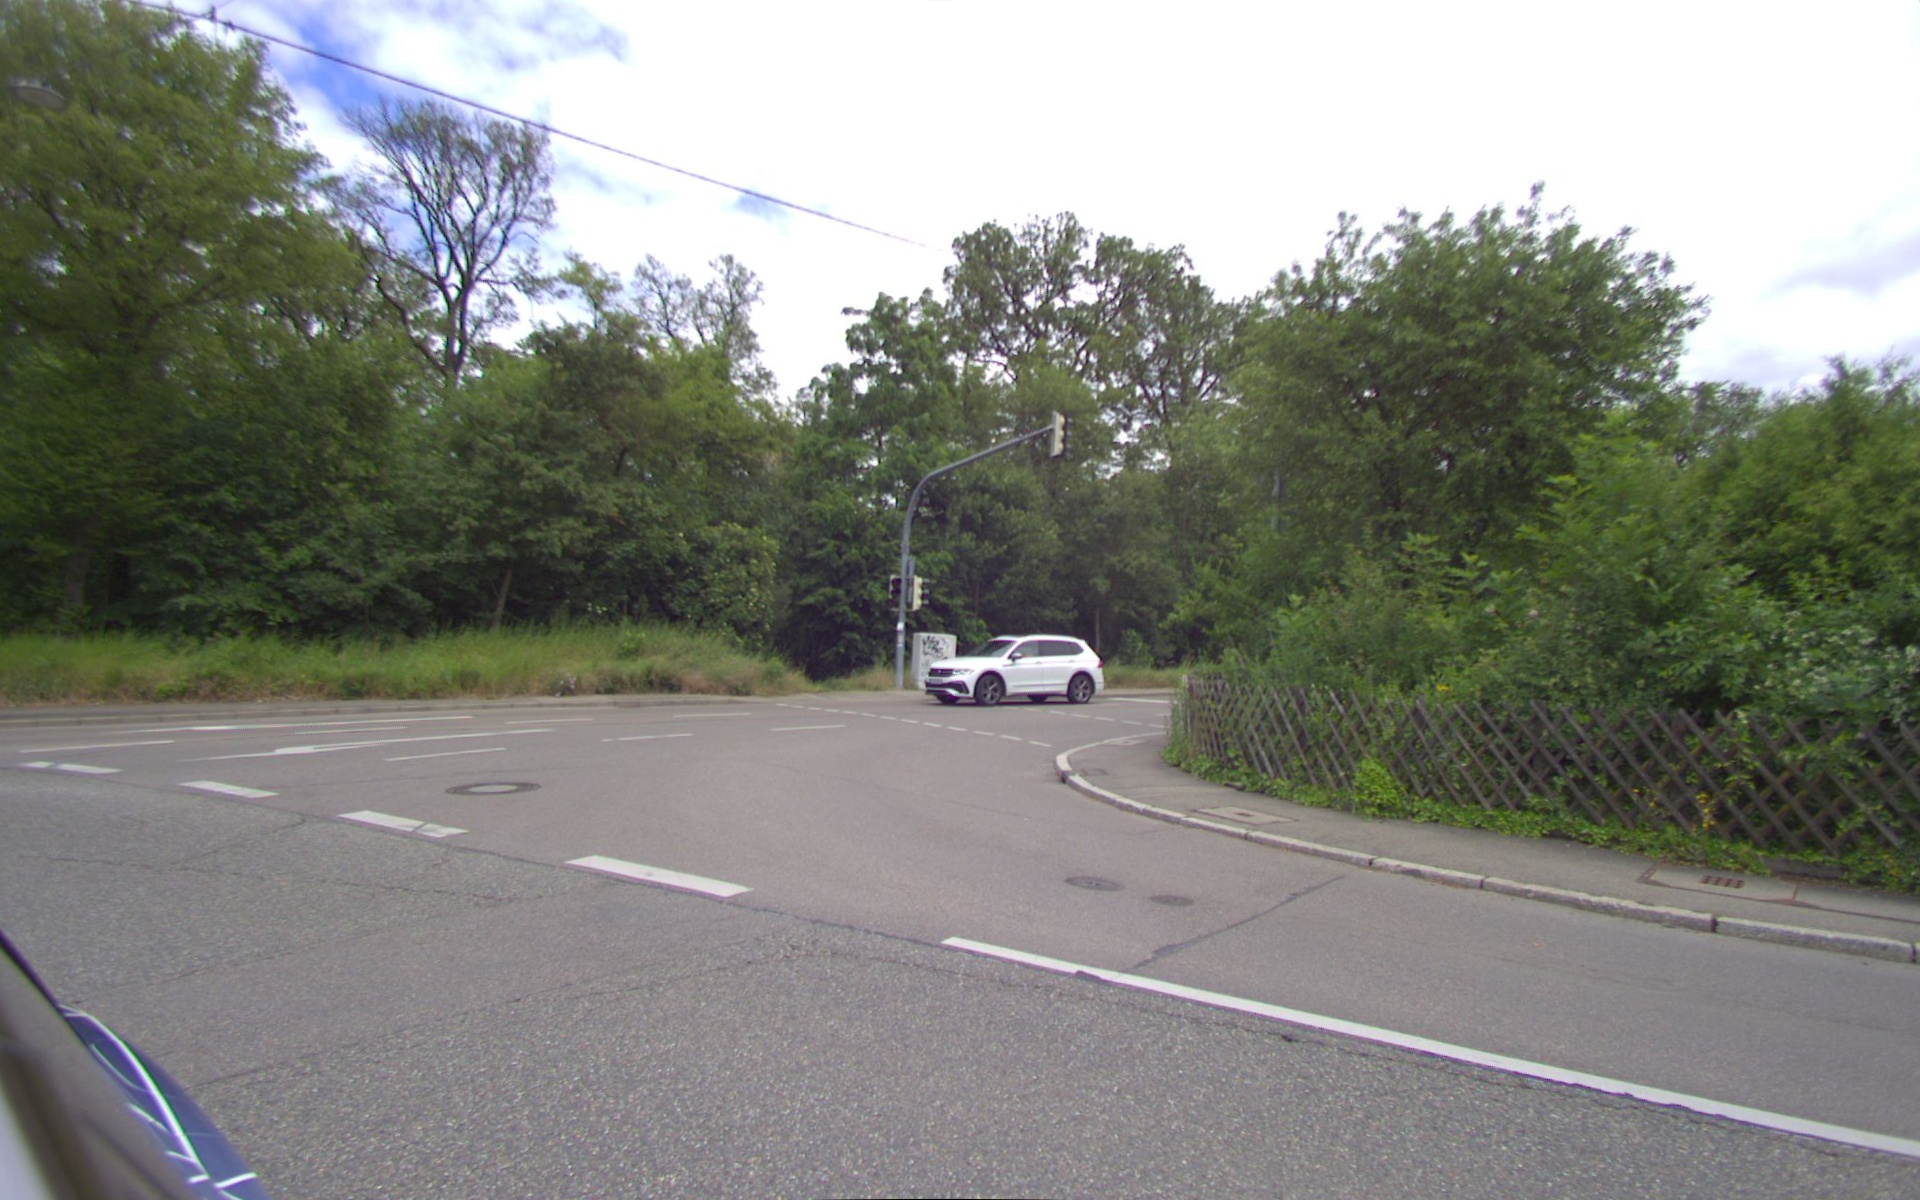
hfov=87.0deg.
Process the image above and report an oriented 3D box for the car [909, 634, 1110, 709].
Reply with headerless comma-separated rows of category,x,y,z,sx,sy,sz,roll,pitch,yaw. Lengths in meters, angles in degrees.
car,1.242,1.724,24.164,4.576,1.640,1.869,4,-4,-34
